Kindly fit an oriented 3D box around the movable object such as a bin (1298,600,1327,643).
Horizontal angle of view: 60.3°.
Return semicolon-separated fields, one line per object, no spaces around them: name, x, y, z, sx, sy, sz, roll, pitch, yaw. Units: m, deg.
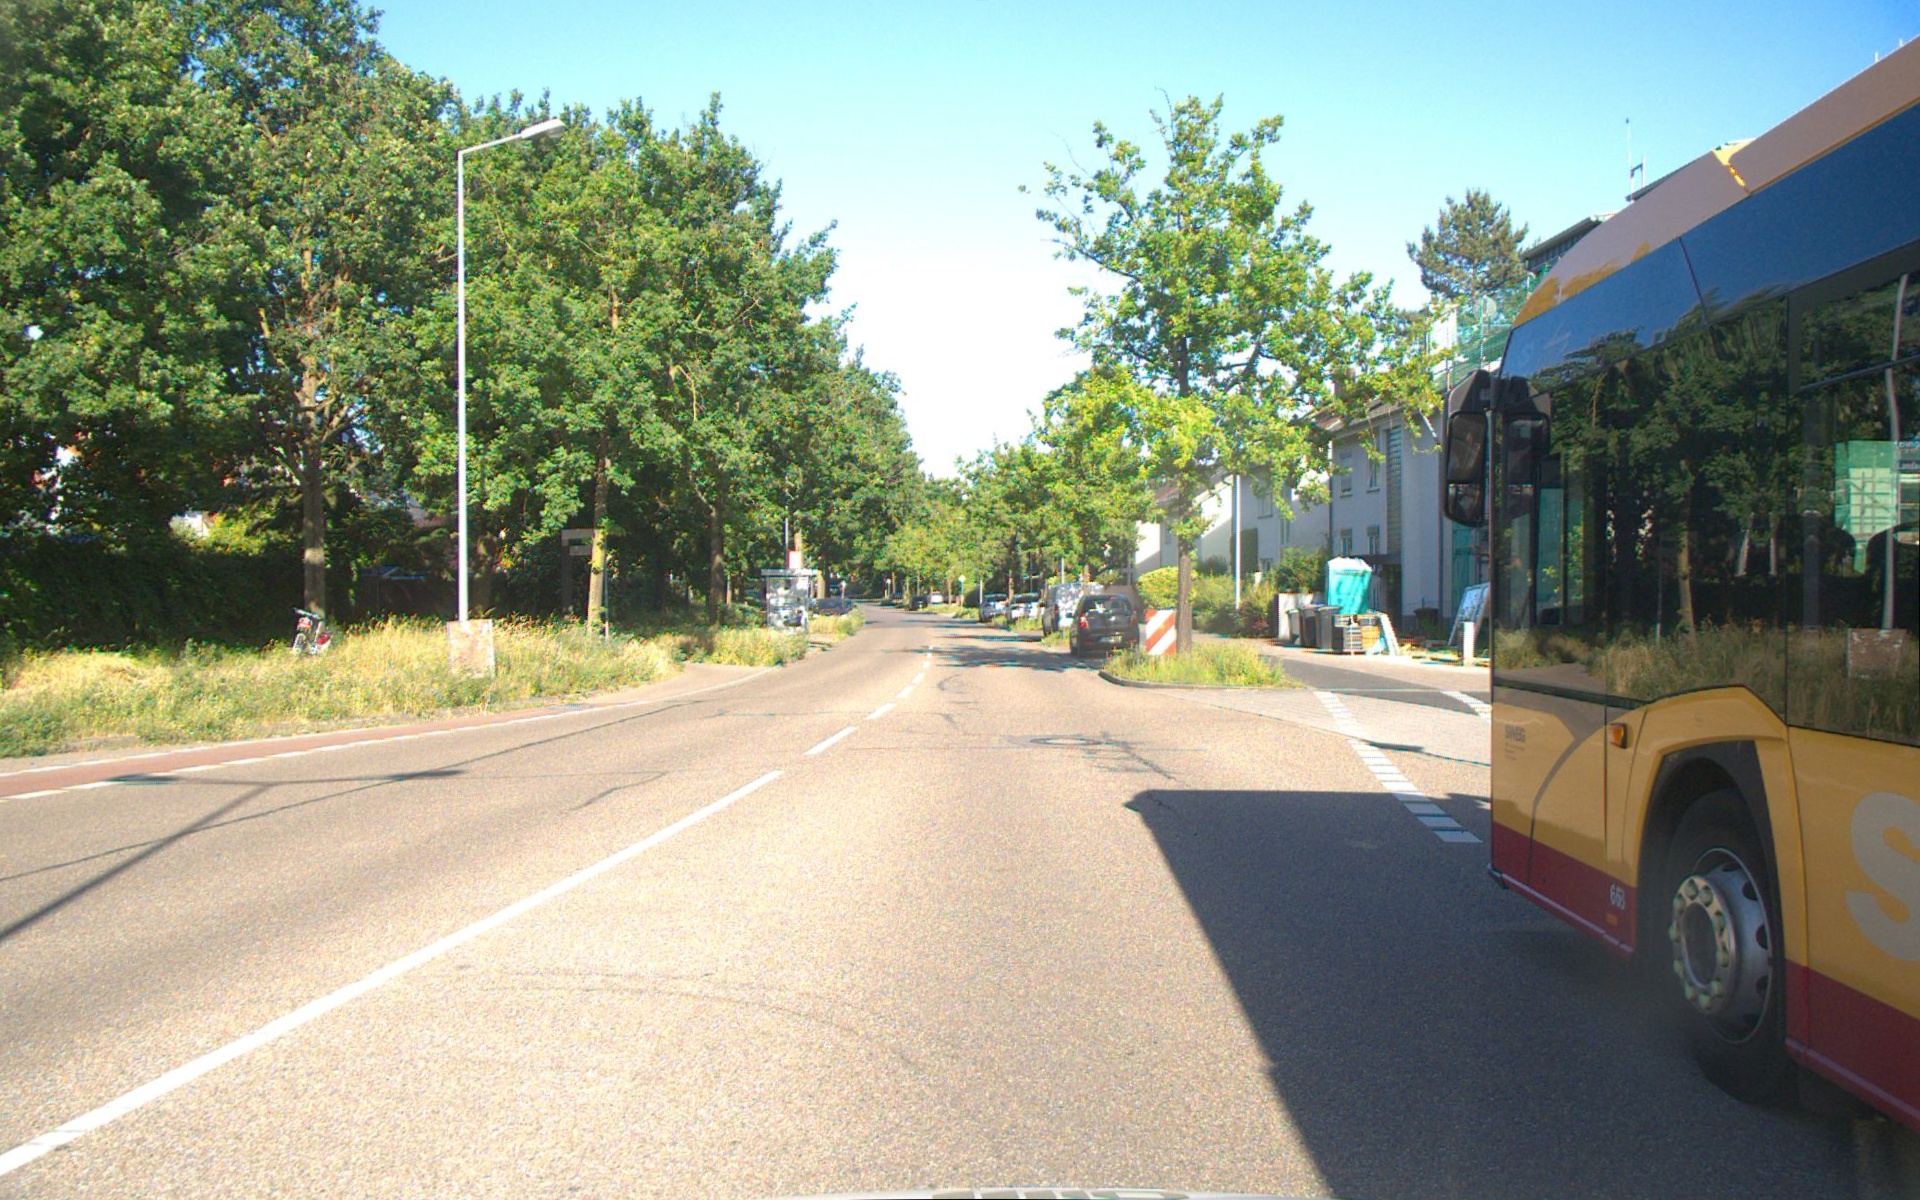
movable object such as a bin;9.028;0.549;42.326;0.591;1.088;0.646;0;0;-1

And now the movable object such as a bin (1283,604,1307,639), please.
movable object such as a bin;9.108;0.585;44.992;0.518;0.948;0.549;0;0;-1

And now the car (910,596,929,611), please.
car;-4.190;0.354;169.929;1.894;1.569;3.998;0;0;-3

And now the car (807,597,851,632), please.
car;-5.767;0.606;73.024;1.897;1.505;3.997;0;0;-4

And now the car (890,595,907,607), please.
car;-7.372;0.115;197.679;1.895;1.479;3.997;0;0;-4

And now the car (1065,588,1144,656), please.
car;3.674;0.542;42.589;1.638;1.606;3.751;-2;0;0

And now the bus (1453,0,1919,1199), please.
bus;3.441;-0.255;1.638;2.700;3.519;12.402;-1;-1;3

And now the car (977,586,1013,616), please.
car;2.115;0.055;100.704;1.894;1.773;3.998;0;0;-3

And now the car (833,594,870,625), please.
car;-5.887;0.509;89.268;1.954;1.584;3.996;1;0;-5

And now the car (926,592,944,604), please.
car;-2.959;-0.249;195.780;1.895;1.479;3.997;0;0;-4

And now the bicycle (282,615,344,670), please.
bicycle;-13.063;0.842;33.430;0.495;1.072;1.880;0;0;0

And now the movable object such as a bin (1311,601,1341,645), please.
movable object such as a bin;9.112;0.569;41.219;0.591;1.088;0.646;0;0;-1

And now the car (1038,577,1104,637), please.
car;3.835;0.219;57.849;1.799;2.005;4.756;0;0;-3

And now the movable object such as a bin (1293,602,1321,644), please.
movable object such as a bin;9.051;0.591;43.167;0.591;1.088;0.567;0;0;-1

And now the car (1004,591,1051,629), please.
car;3.153;0.462;78.271;1.897;1.734;3.998;0;0;-3
